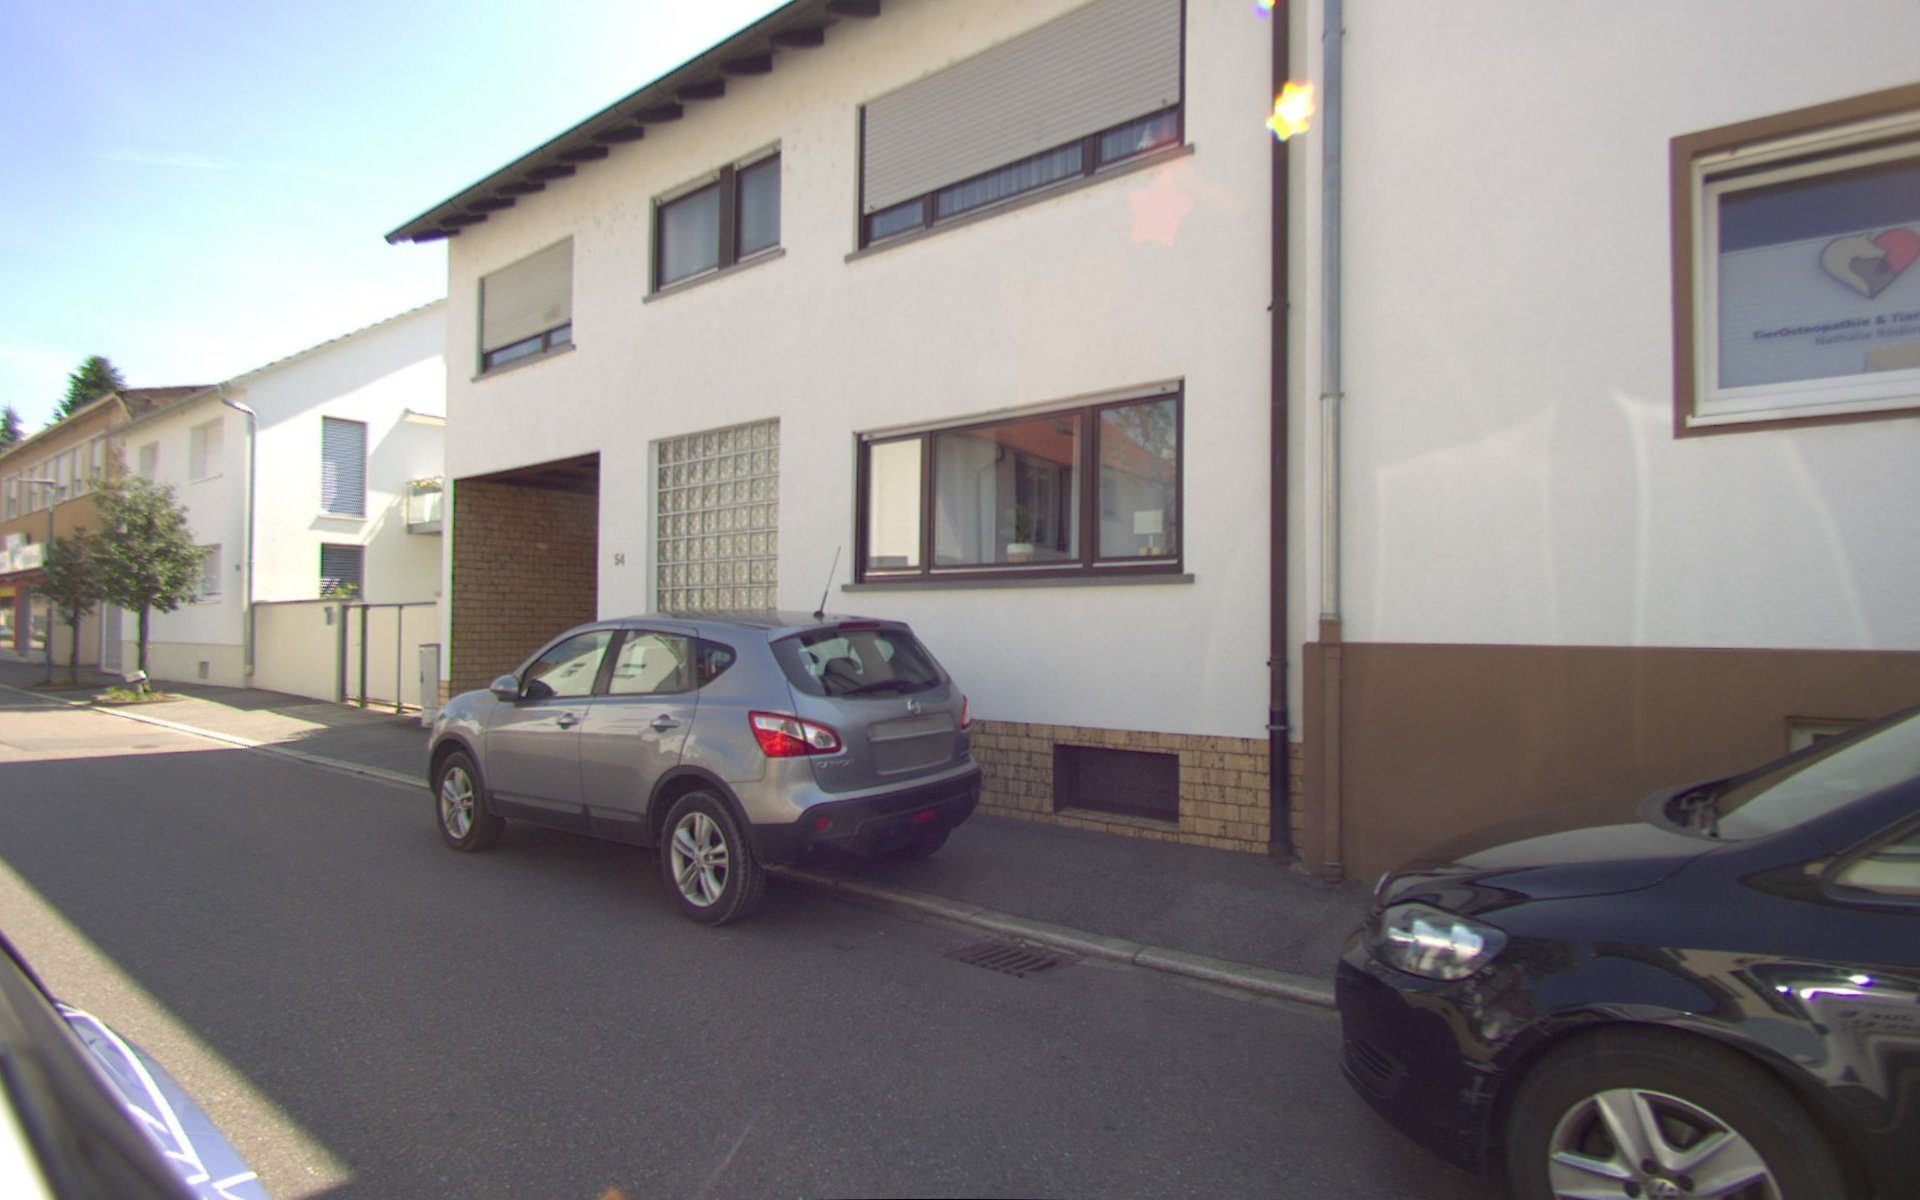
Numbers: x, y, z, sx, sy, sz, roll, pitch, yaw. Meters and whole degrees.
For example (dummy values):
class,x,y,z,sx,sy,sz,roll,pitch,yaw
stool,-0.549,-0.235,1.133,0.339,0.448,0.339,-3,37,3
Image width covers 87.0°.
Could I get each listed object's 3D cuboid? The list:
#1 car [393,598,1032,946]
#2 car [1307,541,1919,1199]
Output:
class,x,y,z,sx,sy,sz,roll,pitch,yaw
car,-1.791,0.816,6.515,4.283,1.536,1.741,-1,-2,38
car,2.975,0.708,1.964,4.055,1.621,1.637,-1,-2,38
